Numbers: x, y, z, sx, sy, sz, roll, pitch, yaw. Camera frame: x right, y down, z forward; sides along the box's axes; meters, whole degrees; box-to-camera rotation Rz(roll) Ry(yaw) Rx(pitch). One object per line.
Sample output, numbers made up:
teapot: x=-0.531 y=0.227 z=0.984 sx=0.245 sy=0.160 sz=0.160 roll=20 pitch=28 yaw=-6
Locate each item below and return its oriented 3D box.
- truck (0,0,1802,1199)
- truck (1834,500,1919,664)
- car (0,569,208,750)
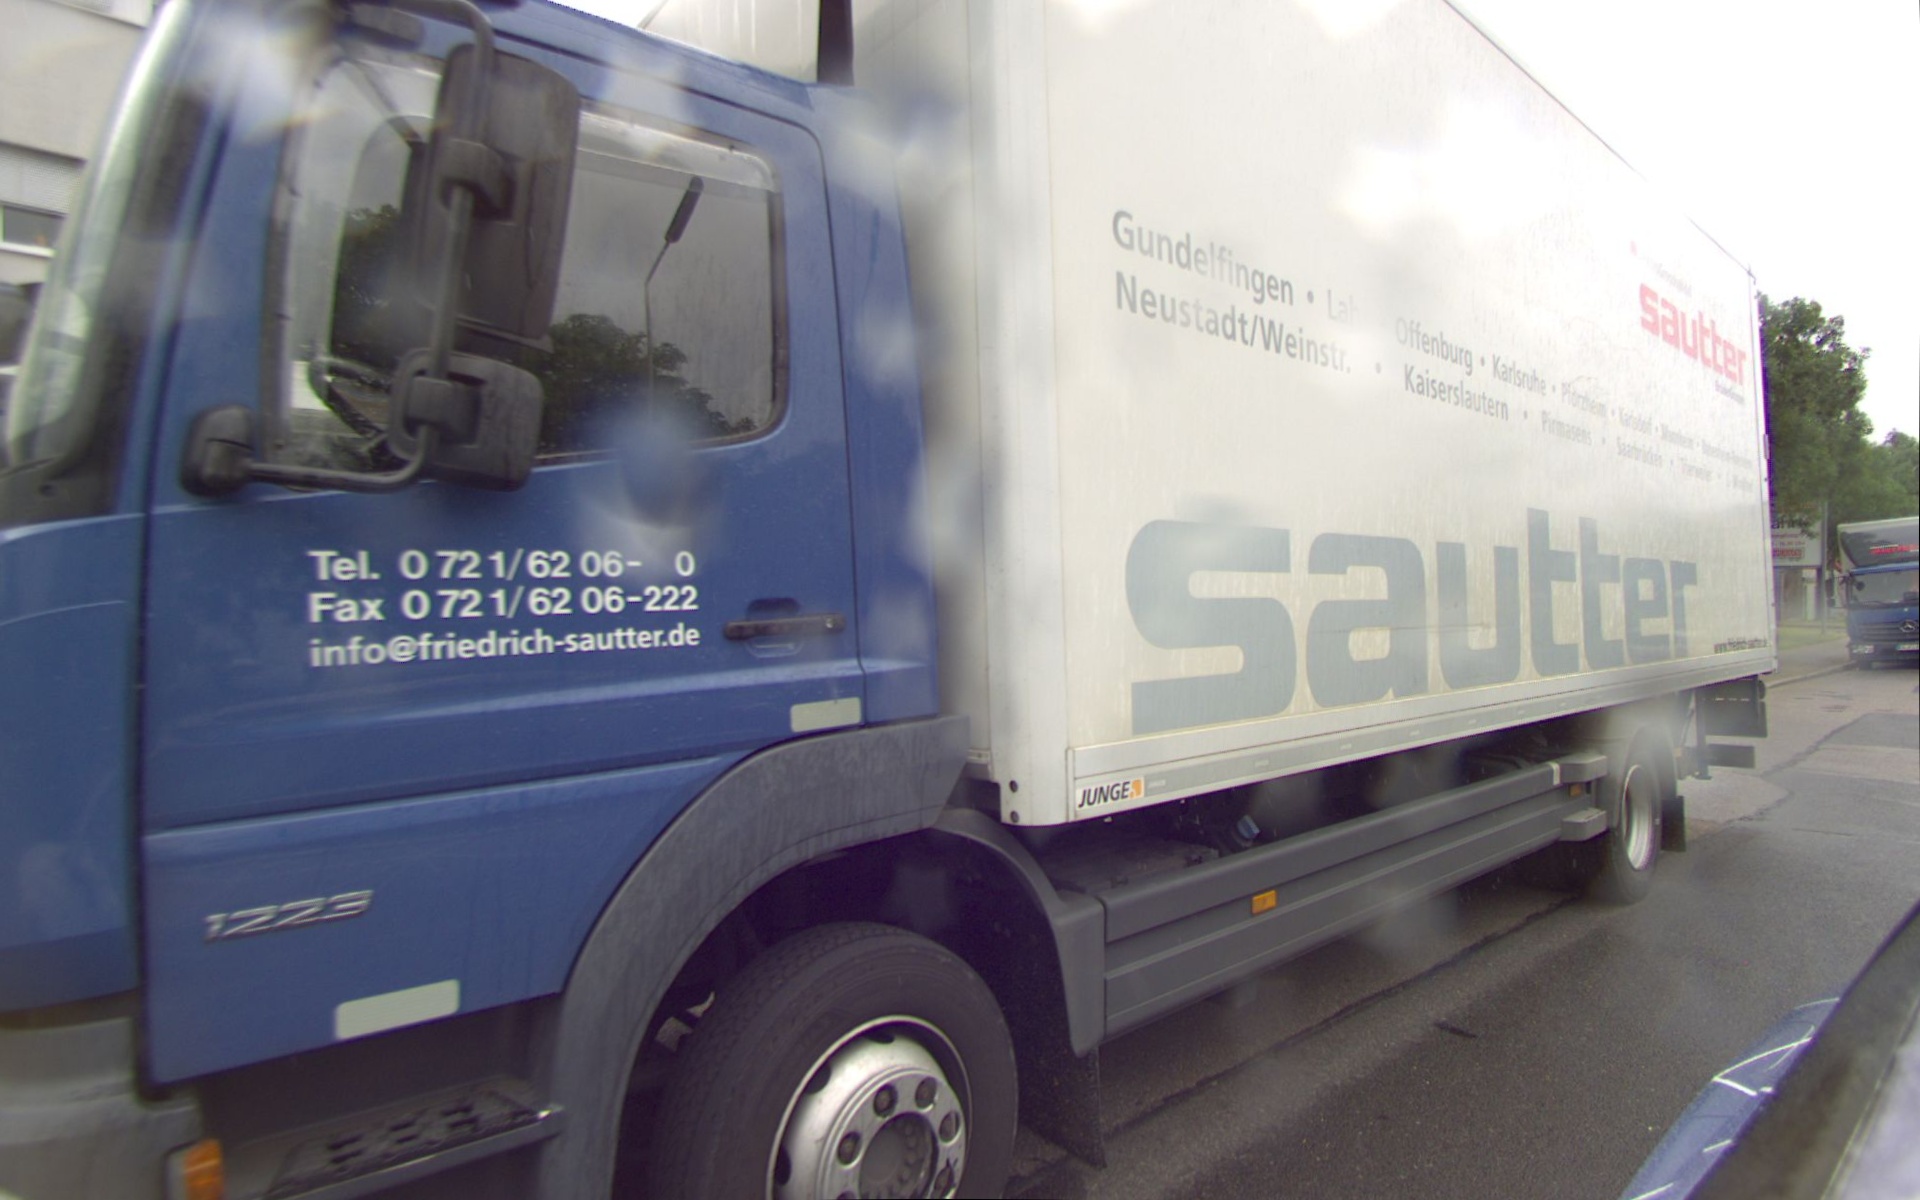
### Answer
truck: x=1.350 y=-0.471 z=4.954 sx=9.136 sy=3.838 sz=2.745 roll=0 pitch=-2 yaw=-41
truck: x=24.773 y=-0.418 z=25.786 sx=7.870 sy=3.740 sz=2.675 roll=0 pitch=-2 yaw=-42
car: x=-8.690 y=0.386 z=8.297 sx=3.929 sy=1.302 sz=1.705 roll=1 pitch=1 yaw=5
